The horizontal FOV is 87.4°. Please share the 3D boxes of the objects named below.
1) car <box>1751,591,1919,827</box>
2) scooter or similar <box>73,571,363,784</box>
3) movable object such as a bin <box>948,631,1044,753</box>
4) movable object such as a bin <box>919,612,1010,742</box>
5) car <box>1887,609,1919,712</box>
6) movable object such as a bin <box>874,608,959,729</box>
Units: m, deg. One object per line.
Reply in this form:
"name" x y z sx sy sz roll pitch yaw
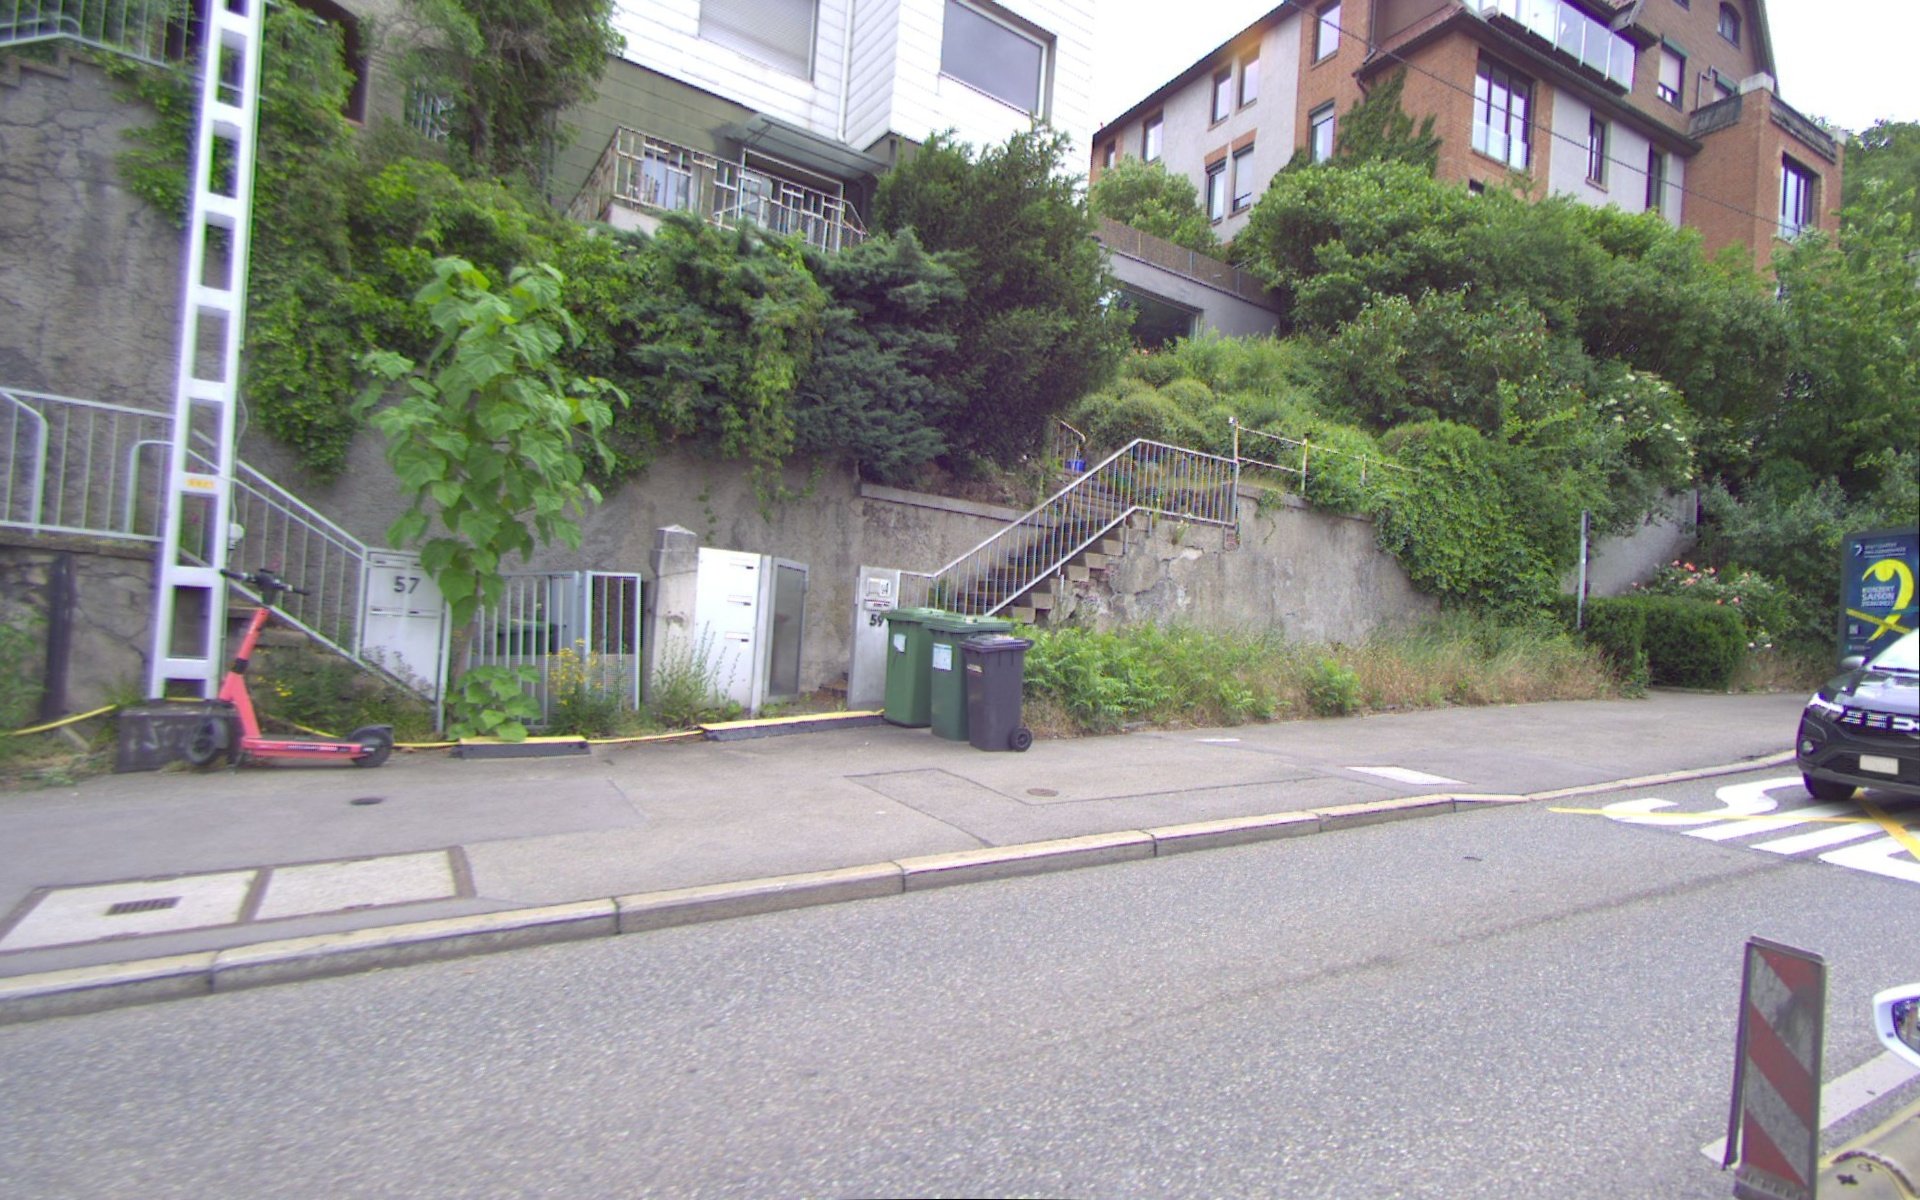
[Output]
"car" 8.389 0.817 8.050 3.770 1.644 1.808 1 1 -28
"scooter or similar" -4.628 0.453 6.360 1.420 1.221 0.456 1 2 -34
"movable object such as a bin" 0.299 0.744 8.371 0.617 0.947 0.465 1 2 -31
"movable object such as a bin" 0.035 0.658 8.818 0.617 1.068 0.465 1 2 -31
"car" 16.481 0.987 15.517 3.947 1.531 1.788 1 2 -26
"movable object such as a bin" -0.411 0.621 9.384 0.617 1.068 0.465 1 2 -31
